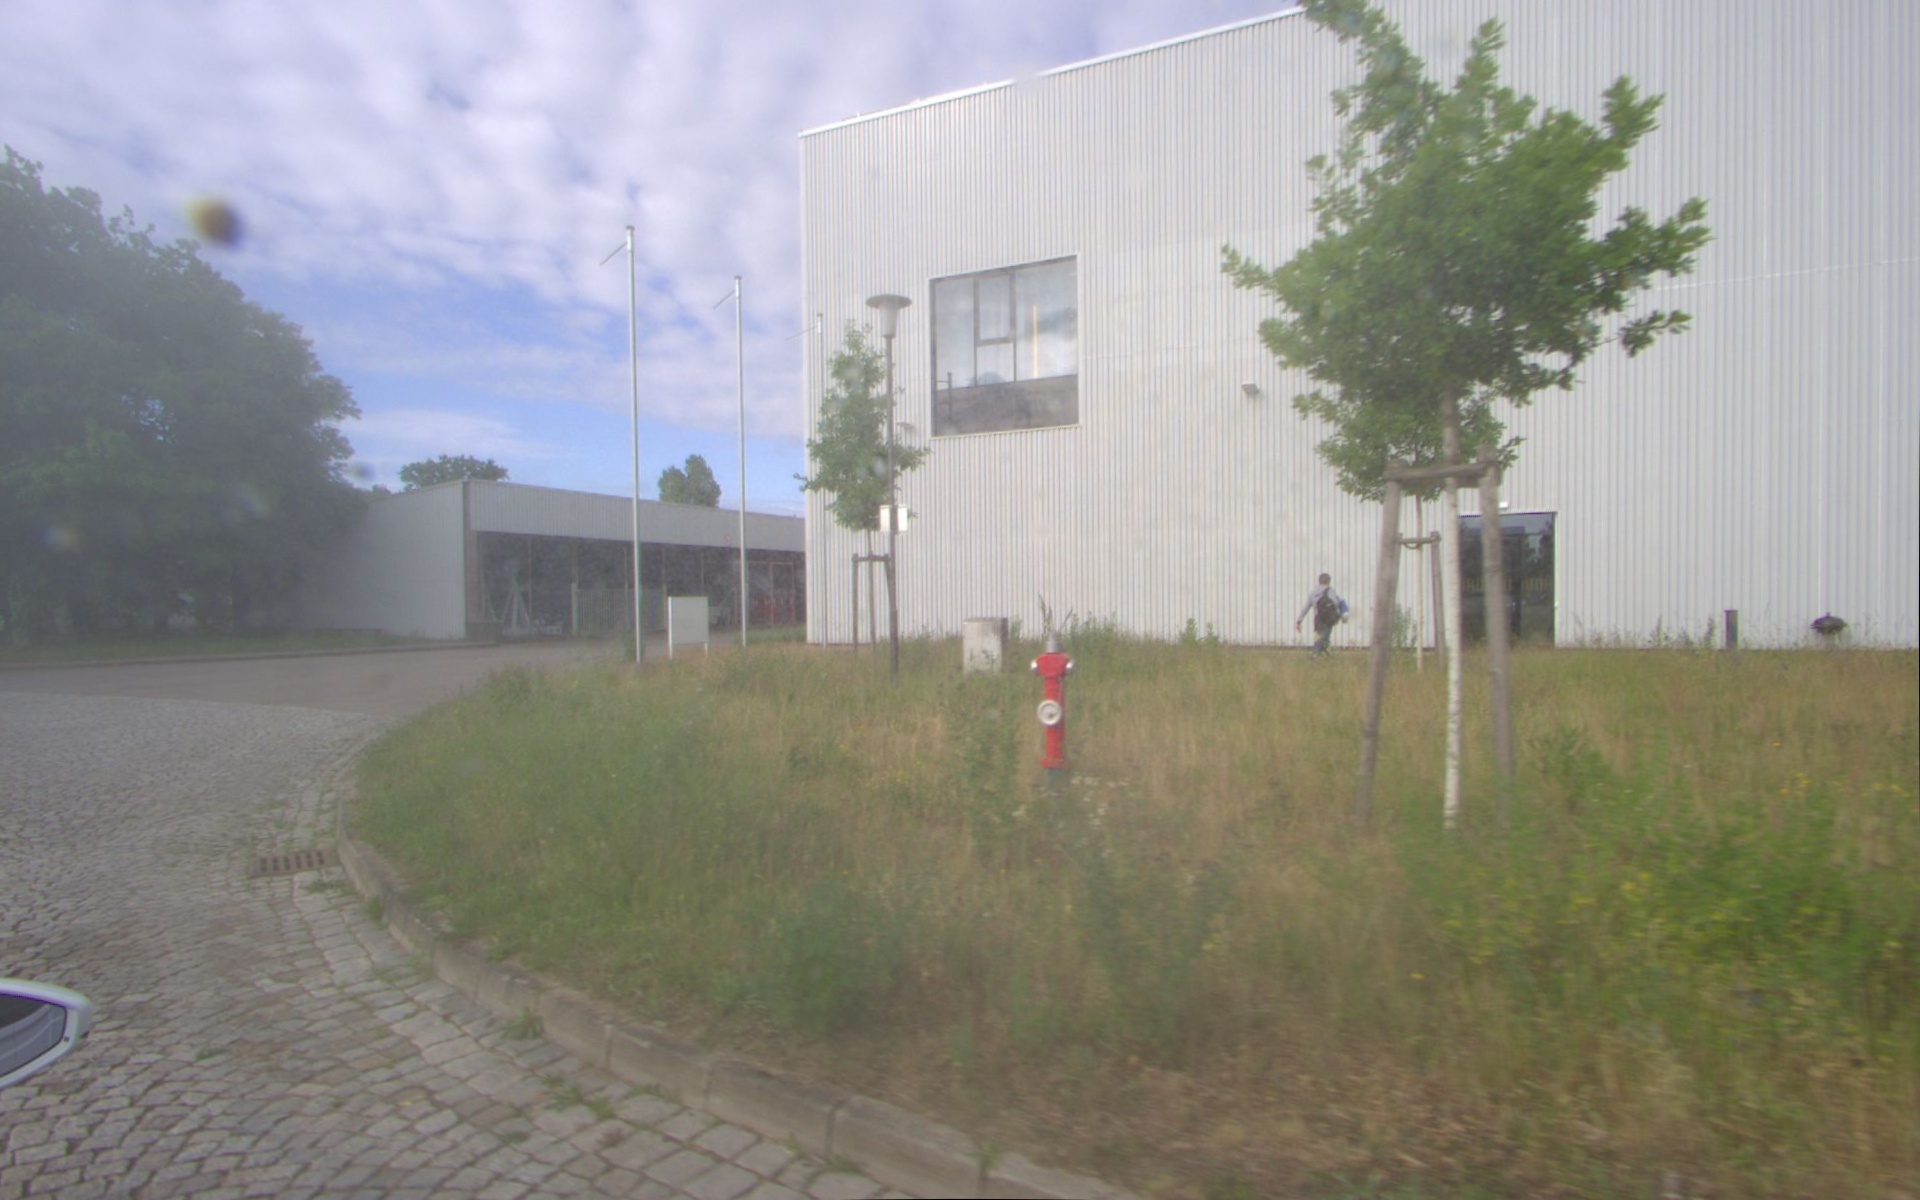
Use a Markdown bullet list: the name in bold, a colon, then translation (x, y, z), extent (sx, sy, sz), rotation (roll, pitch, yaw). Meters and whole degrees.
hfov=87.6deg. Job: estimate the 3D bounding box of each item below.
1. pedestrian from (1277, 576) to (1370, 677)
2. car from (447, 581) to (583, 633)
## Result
- **pedestrian**: translation (5.961, 0.413, 16.426), extent (1.067, 1.577, 1.065), rotation (-1, 1, -41)
- **car**: translation (-18.584, 0.301, 41.819), extent (5.249, 2.040, 2.241), rotation (-1, 1, 24)
